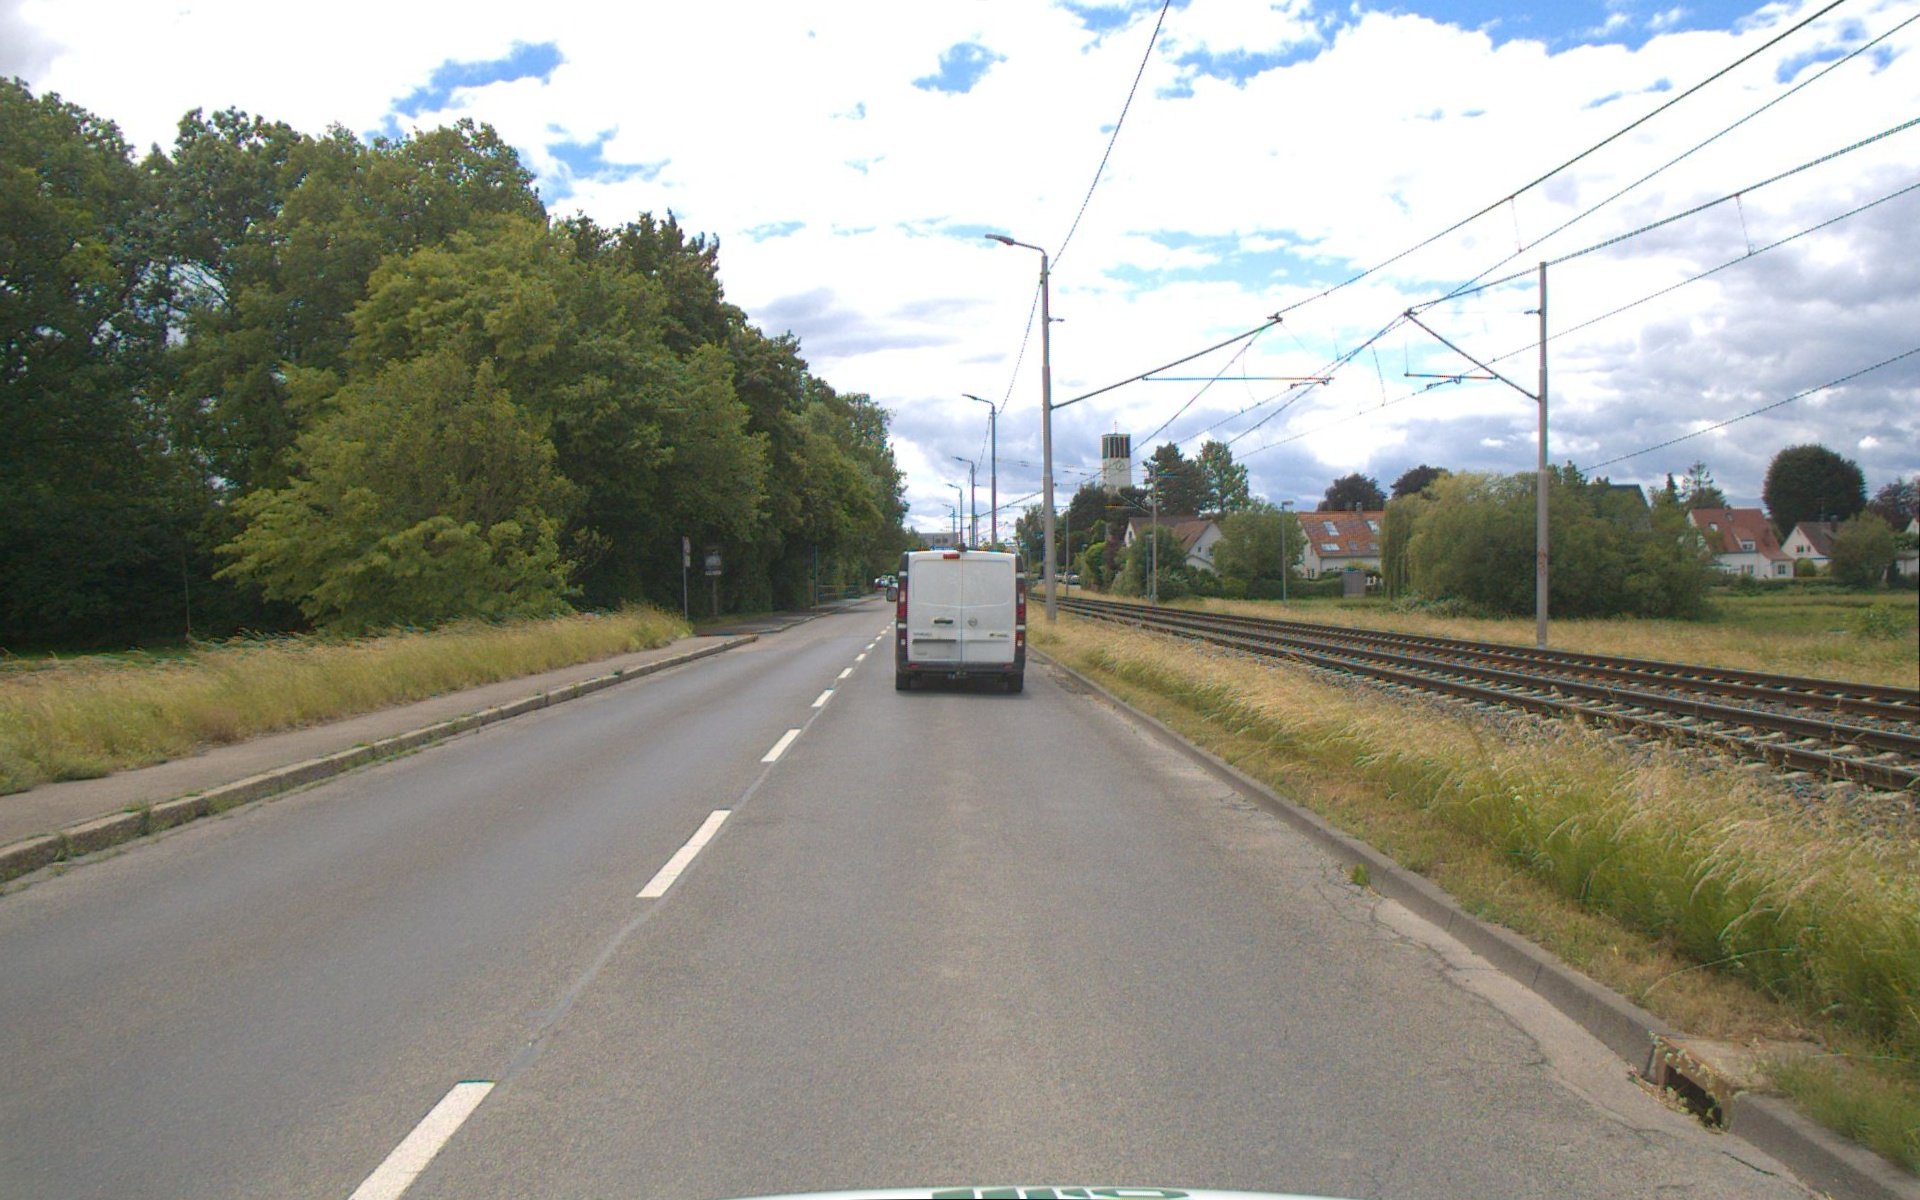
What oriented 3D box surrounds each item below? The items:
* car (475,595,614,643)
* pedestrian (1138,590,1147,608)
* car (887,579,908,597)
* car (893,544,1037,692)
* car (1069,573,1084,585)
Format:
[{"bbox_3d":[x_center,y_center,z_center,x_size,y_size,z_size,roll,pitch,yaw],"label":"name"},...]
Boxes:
[{"bbox_3d":[-13.251,0.597,52.898,3.905,1.321,1.745,-3,0,0],"label":"car"},{"bbox_3d":[15.475,-0.102,140.385,0.643,1.532,0.656,0,0,-2],"label":"pedestrian"},{"bbox_3d":[-6.132,-1.145,162.295,1.954,1.747,4.121,0,0,-3],"label":"car"},{"bbox_3d":[-0.008,0.227,24.389,1.953,1.991,3.998,0,0,-2],"label":"car"},{"bbox_3d":[18.194,-3.272,259.001,1.953,1.747,3.998,1,-1,-2],"label":"car"}]
